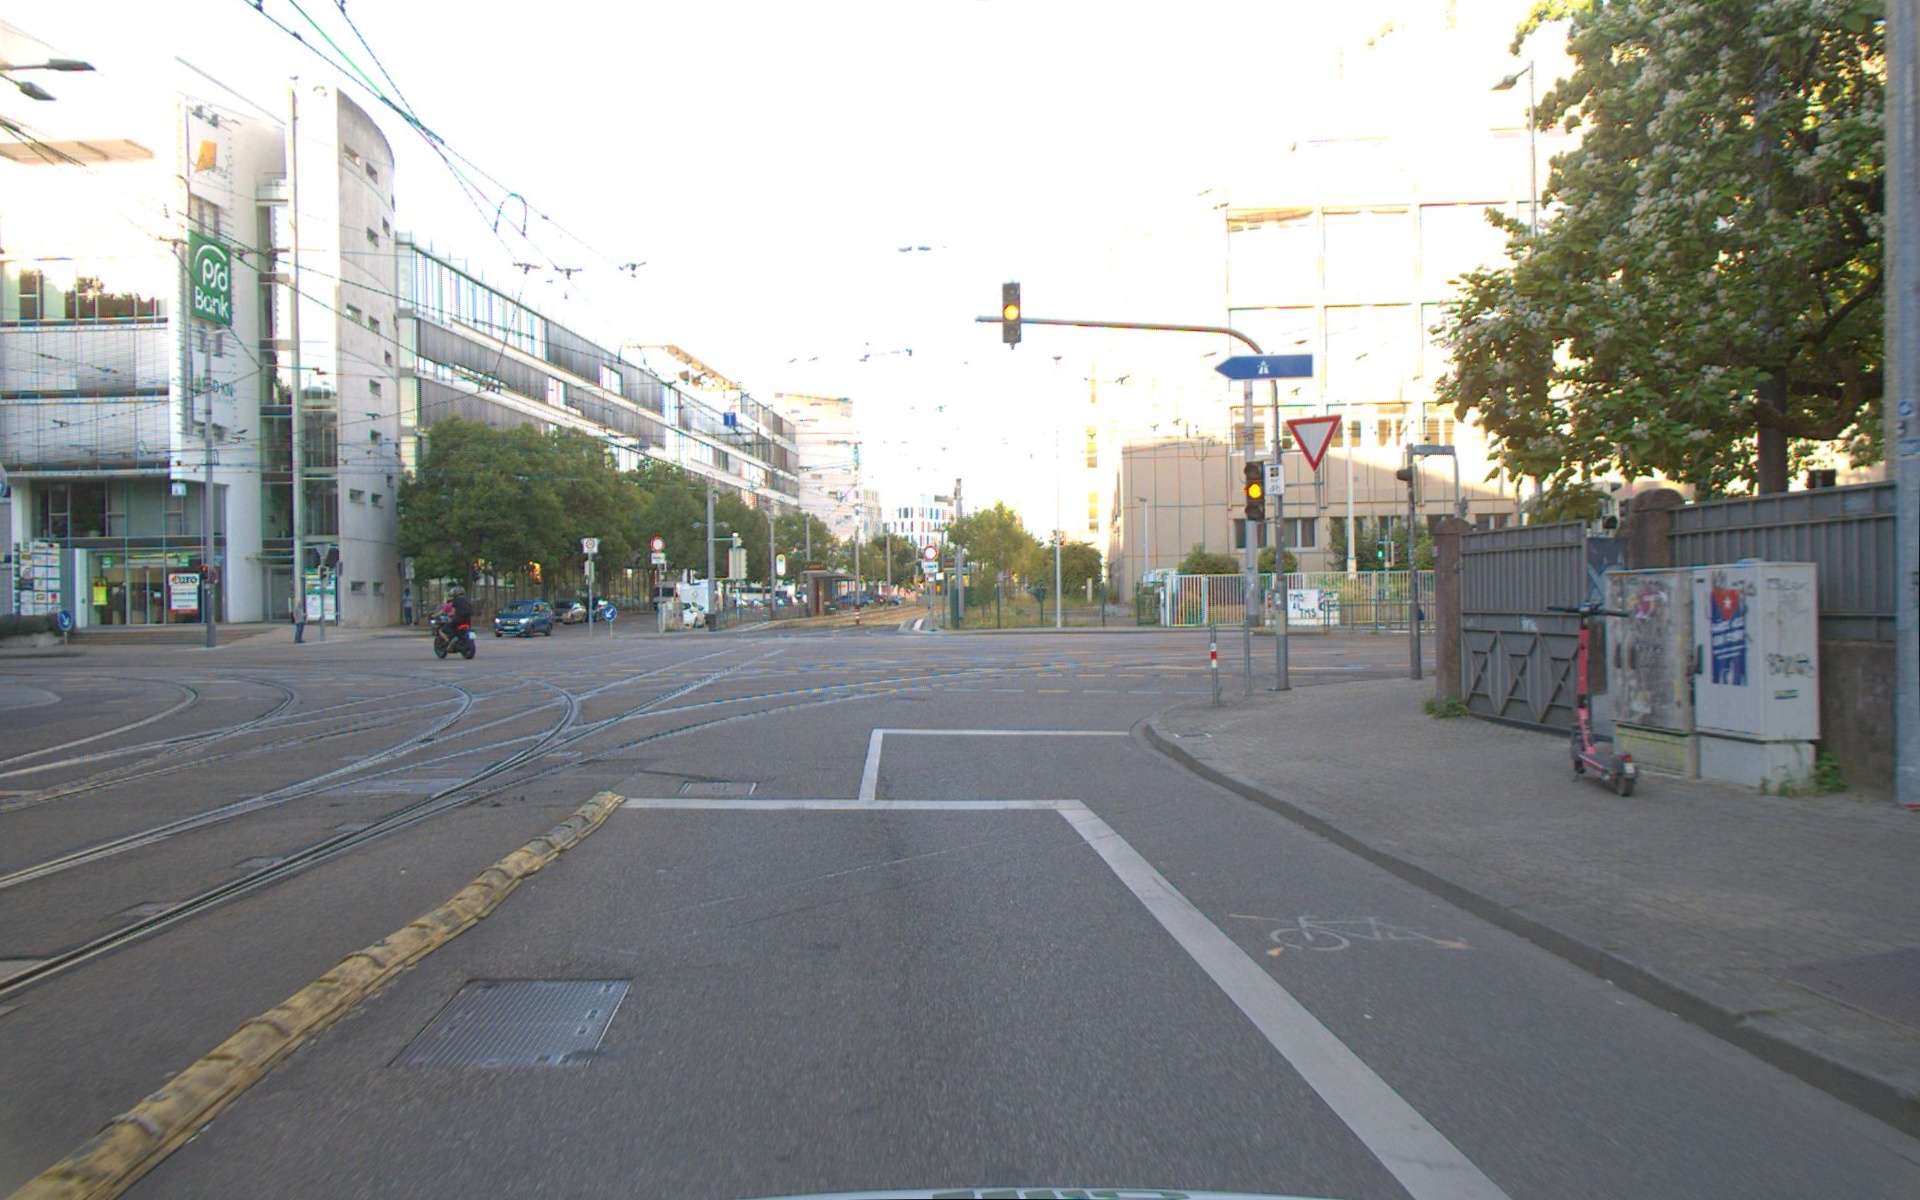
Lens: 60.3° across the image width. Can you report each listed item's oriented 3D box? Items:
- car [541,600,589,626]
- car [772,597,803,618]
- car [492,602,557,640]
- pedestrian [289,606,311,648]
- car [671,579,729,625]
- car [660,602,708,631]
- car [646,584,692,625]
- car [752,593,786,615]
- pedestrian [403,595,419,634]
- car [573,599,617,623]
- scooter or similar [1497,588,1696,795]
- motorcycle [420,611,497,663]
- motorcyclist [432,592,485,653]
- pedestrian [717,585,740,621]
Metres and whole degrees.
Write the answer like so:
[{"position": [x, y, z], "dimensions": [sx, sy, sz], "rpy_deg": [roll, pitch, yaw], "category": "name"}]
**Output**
[{"position": [-24.694, 0.791, 103.505], "dimensions": [1.647, 1.528, 4.241], "rpy_deg": [-1, 0, 4], "category": "car"}, {"position": [-12.787, 0.533, 123.002], "dimensions": [1.647, 1.464, 4.128], "rpy_deg": [-1, 0, 3], "category": "car"}, {"position": [-20.819, 0.985, 79.197], "dimensions": [1.647, 1.729, 4.242], "rpy_deg": [-1, 0, 5], "category": "car"}, {"position": [-27.451, 1.121, 68.757], "dimensions": [0.534, 1.741, 0.660], "rpy_deg": [-1, 0, 13], "category": "pedestrian"}, {"position": [-14.934, 0.110, 95.383], "dimensions": [2.411, 2.526, 5.808], "rpy_deg": [-1, 0, 0], "category": "car"}, {"position": [-14.902, 0.864, 89.537], "dimensions": [1.647, 1.464, 4.128], "rpy_deg": [-1, 0, 3], "category": "car"}, {"position": [-23.083, 0.329, 131.387], "dimensions": [2.155, 3.207, 6.146], "rpy_deg": [-1, 0, 4], "category": "car"}, {"position": [-13.198, 0.254, 114.482], "dimensions": [1.647, 1.464, 4.128], "rpy_deg": [-1, 0, 3], "category": "car"}, {"position": [-28.094, 0.754, 84.622], "dimensions": [0.649, 1.956, 0.547], "rpy_deg": [-2, 0, -8], "category": "pedestrian"}, {"position": [-24.169, 0.726, 109.615], "dimensions": [1.647, 1.528, 4.241], "rpy_deg": [-1, 0, 4], "category": "car"}, {"position": [4.306, 0.579, 11.310], "dimensions": [0.629, 1.288, 1.582], "rpy_deg": [-3, 0, -3], "category": "scooter or similar"}, {"position": [-12.723, 0.931, 41.917], "dimensions": [0.824, 1.261, 2.451], "rpy_deg": [-1, 0, -44], "category": "motorcycle"}, {"position": [-12.709, 0.565, 41.893], "dimensions": [0.825, 1.499, 1.187], "rpy_deg": [-1, 0, -44], "category": "motorcyclist"}, {"position": [-13.460, 0.172, 96.110], "dimensions": [1.026, 2.066, 0.977], "rpy_deg": [-1, 0, -24], "category": "pedestrian"}]
